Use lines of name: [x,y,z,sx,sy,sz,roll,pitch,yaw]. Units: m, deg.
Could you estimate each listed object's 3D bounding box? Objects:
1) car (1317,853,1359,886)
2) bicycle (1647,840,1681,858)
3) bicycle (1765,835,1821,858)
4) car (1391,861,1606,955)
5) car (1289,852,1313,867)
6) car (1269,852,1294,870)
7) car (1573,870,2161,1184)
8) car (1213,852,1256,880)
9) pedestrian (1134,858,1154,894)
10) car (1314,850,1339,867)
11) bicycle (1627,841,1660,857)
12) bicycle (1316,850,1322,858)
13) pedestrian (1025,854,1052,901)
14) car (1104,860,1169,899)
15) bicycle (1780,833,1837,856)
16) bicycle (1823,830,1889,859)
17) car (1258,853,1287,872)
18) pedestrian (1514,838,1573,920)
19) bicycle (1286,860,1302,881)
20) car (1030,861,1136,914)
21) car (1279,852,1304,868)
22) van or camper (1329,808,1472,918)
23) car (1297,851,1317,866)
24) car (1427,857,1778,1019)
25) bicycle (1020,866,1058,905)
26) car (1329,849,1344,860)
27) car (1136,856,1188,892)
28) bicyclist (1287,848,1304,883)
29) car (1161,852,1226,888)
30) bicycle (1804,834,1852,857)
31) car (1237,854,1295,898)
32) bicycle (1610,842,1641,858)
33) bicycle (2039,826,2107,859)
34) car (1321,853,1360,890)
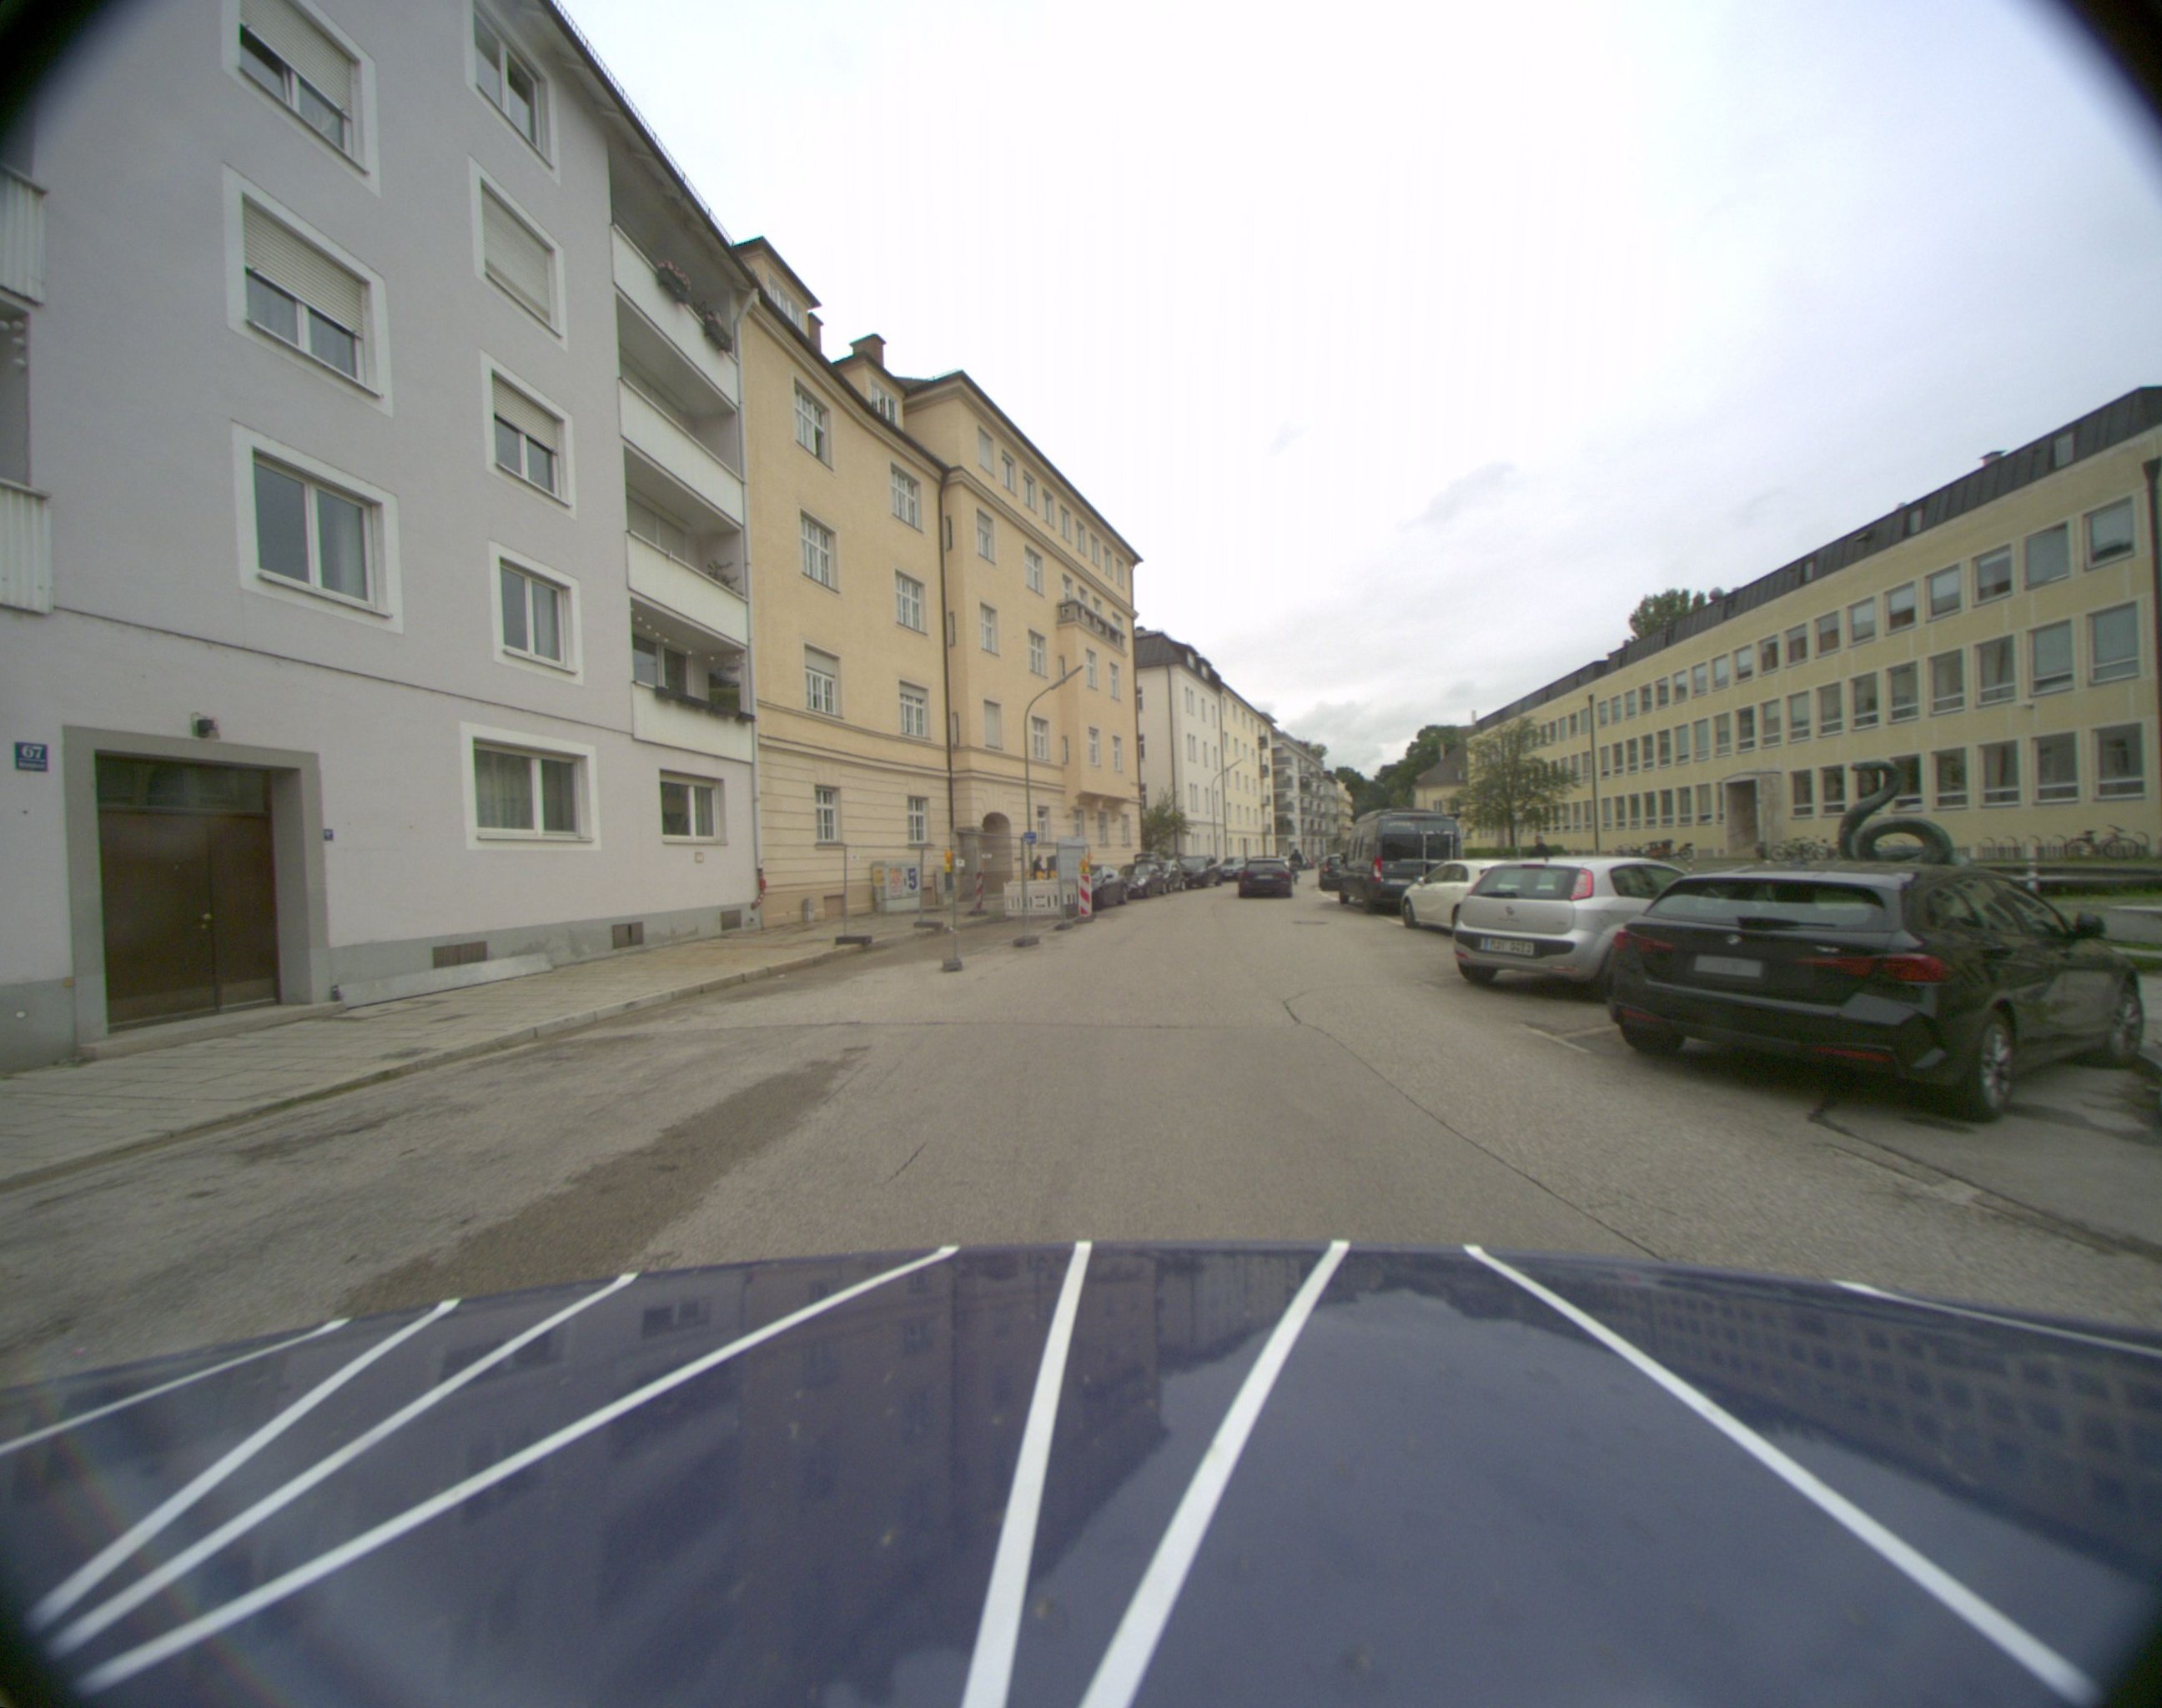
car: [12.216,0.701,36.088,1.776,1.457,4.472,0,0,19]
bicycle: [35.155,-0.308,45.850,1.608,0.939,0.503,-4,0,0]
bicycle: [33.173,-0.333,35.409,1.955,0.939,0.415,-4,0,11]
car: [7.493,0.870,14.208,1.998,1.442,4.216,0,0,5]
car: [22.844,0.566,78.766,1.775,1.421,4.622,-3,-1,23]
car: [18.325,0.593,69.231,1.652,1.534,3.999,-3,-1,22]
car: [5.629,0.872,5.342,4.003,1.413,1.810,0,1,-26]
car: [10.216,0.763,50.333,1.848,1.653,4.505,-3,-1,22]
pedestrian: [2.760,0.965,33.298,0.629,1.519,0.579,-3,0,22]
car: [25.117,0.455,77.706,1.995,1.521,4.007,-4,-1,24]
bicycle: [35.642,-0.317,48.184,1.607,0.939,0.503,-4,0,5]
bicycle: [37.183,0.004,118.795,0.569,1.092,1.813,1,1,25]
pedestrian: [-1.568,0.844,28.000,0.617,1.681,0.920,1,2,23]
car: [2.375,1.029,31.607,1.633,1.409,3.685,-3,-1,21]
bicycle: [33.256,-0.423,34.748,1.860,0.939,0.415,-4,0,18]
bicycle: [32.651,-0.373,32.026,1.849,1.089,0.703,-4,0,7]
car: [16.273,0.712,64.309,1.726,1.441,4.194,-3,-1,22]
pedestrian: [10.845,0.578,17.839,0.845,1.855,0.714,-3,0,-5]
bicycle: [11.012,0.850,39.234,0.586,1.063,1.938,0,0,9]
car: [0.205,1.053,25.429,1.910,1.469,4.953,-3,-1,19]
car: [20.374,0.582,73.443,1.727,1.421,4.300,-3,-1,23]
van or camper: [8.495,0.209,20.907,2.301,2.566,6.090,0,0,10]
car: [24.780,0.473,83.328,1.656,1.421,3.762,-3,-1,23]
car: [6.059,0.804,8.806,3.814,1.499,1.711,0,1,-26]
bicycle: [-1.461,1.082,26.728,0.637,1.251,1.673,-3,0,22]
car: [36.736,0.110,109.197,1.618,1.458,3.753,-3,-1,25]
car: [3.889,0.946,36.190,1.515,1.545,3.024,-3,-1,25]
bicyclist: [11.058,0.575,39.188,0.746,1.761,0.816,0,0,10]
car: [6.161,0.812,41.107,2.172,1.728,5.032,-3,-1,24]
bicycle: [32.890,-0.376,33.471,1.408,0.939,0.415,-4,0,21]
car: [6.775,0.745,28.067,1.923,1.404,4.708,0,1,13]
bicycle: [36.117,-0.287,50.407,1.607,0.939,0.503,-4,0,5]
bicycle: [31.580,-0.359,24.191,1.410,0.939,0.414,-4,0,7]
car: [10.995,0.703,32.230,1.520,1.457,2.891,0,0,19]
